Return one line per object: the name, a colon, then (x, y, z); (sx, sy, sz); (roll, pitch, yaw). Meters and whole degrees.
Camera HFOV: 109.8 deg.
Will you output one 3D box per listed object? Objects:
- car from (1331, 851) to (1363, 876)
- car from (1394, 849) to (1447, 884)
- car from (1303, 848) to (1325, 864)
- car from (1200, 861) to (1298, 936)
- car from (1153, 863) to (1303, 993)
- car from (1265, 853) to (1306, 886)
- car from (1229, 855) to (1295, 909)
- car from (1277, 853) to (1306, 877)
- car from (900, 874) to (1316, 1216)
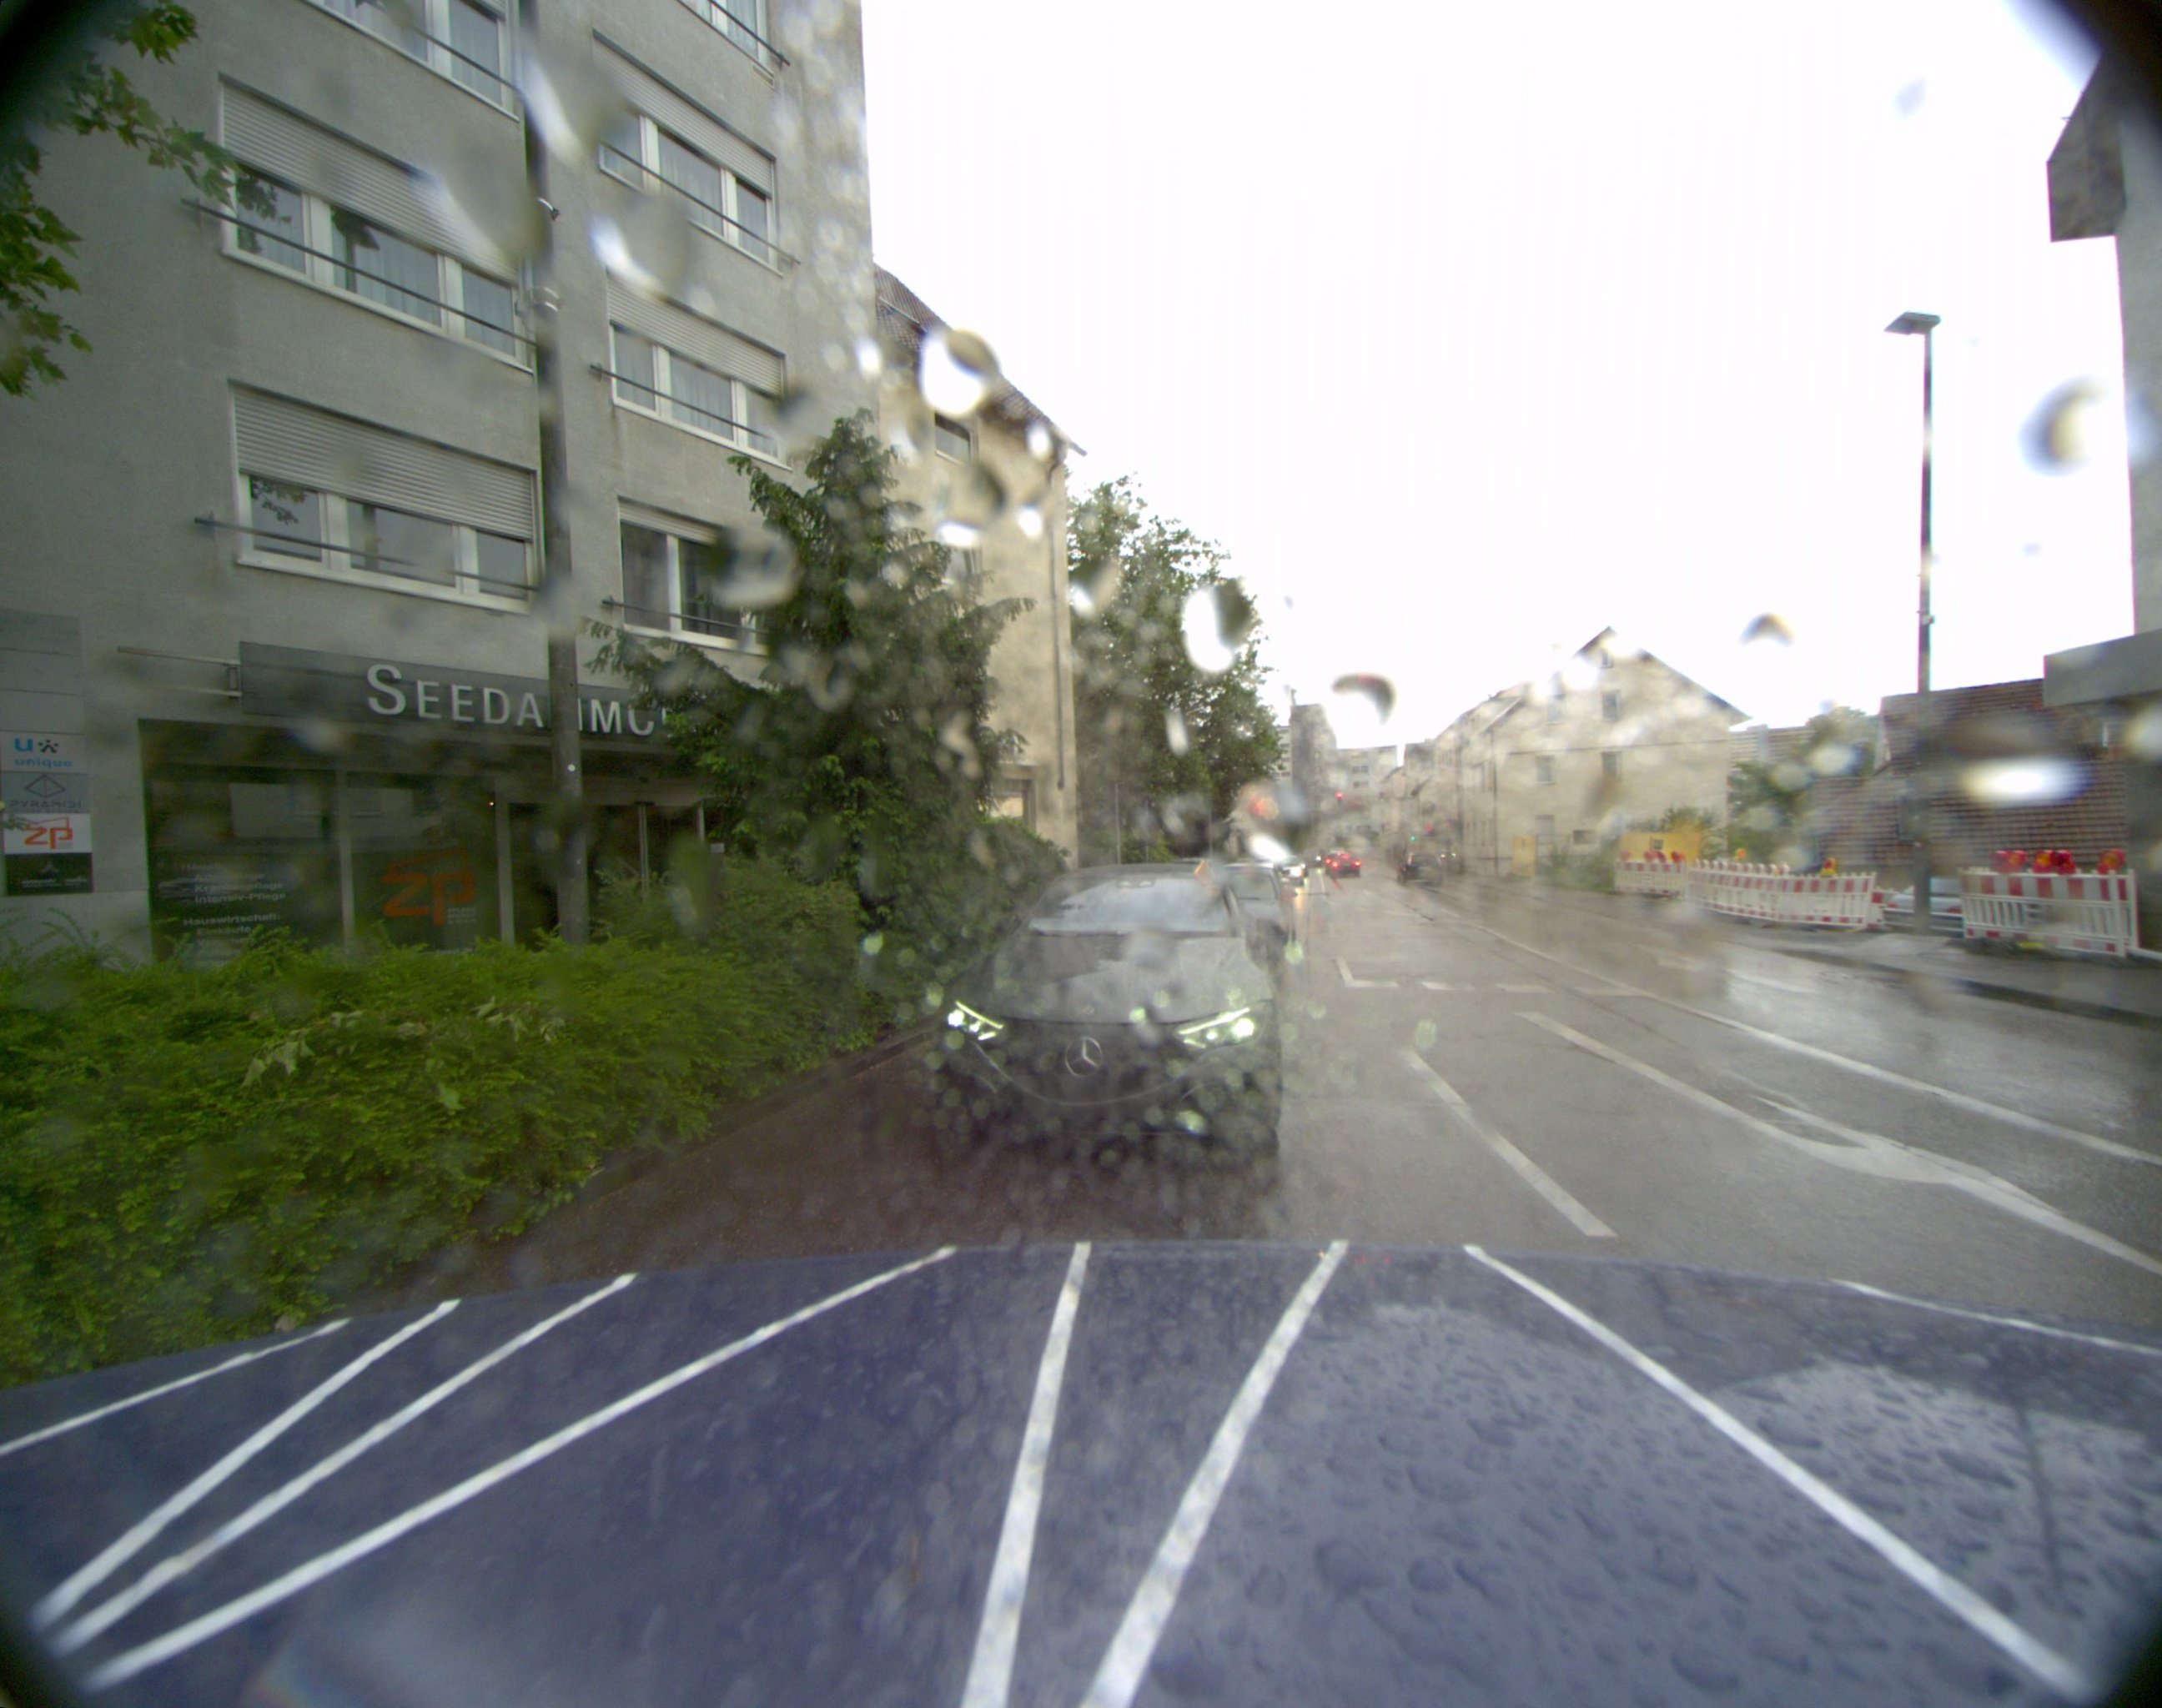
car: (17.272, 0.563, 49.485); (1.811, 1.556, 4.005); (0, 0, 16)
car: (16.438, 0.562, 36.949); (1.811, 1.556, 4.005); (-2, 0, 17)
car: (23.466, 0.194, 76.599); (1.851, 1.469, 4.004); (-2, 0, 14)
car: (4.094, 0.994, 18.373); (1.996, 1.444, 4.004); (-3, 0, 14)
car: (2.459, 0.975, 11.744); (1.771, 1.523, 4.383); (-2, 0, 17)
car: (10.919, 0.779, 40.807); (1.843, 1.612, 4.003); (-2, 0, 12)
car: (6.096, 0.870, 25.305); (1.811, 1.556, 4.005); (-2, 0, 17)
car: (15.096, 0.765, 54.380); (1.830, 1.542, 4.005); (-4, -1, 16)
car: (0.437, 0.994, 5.853); (1.997, 1.484, 4.317); (-2, 0, 9)
